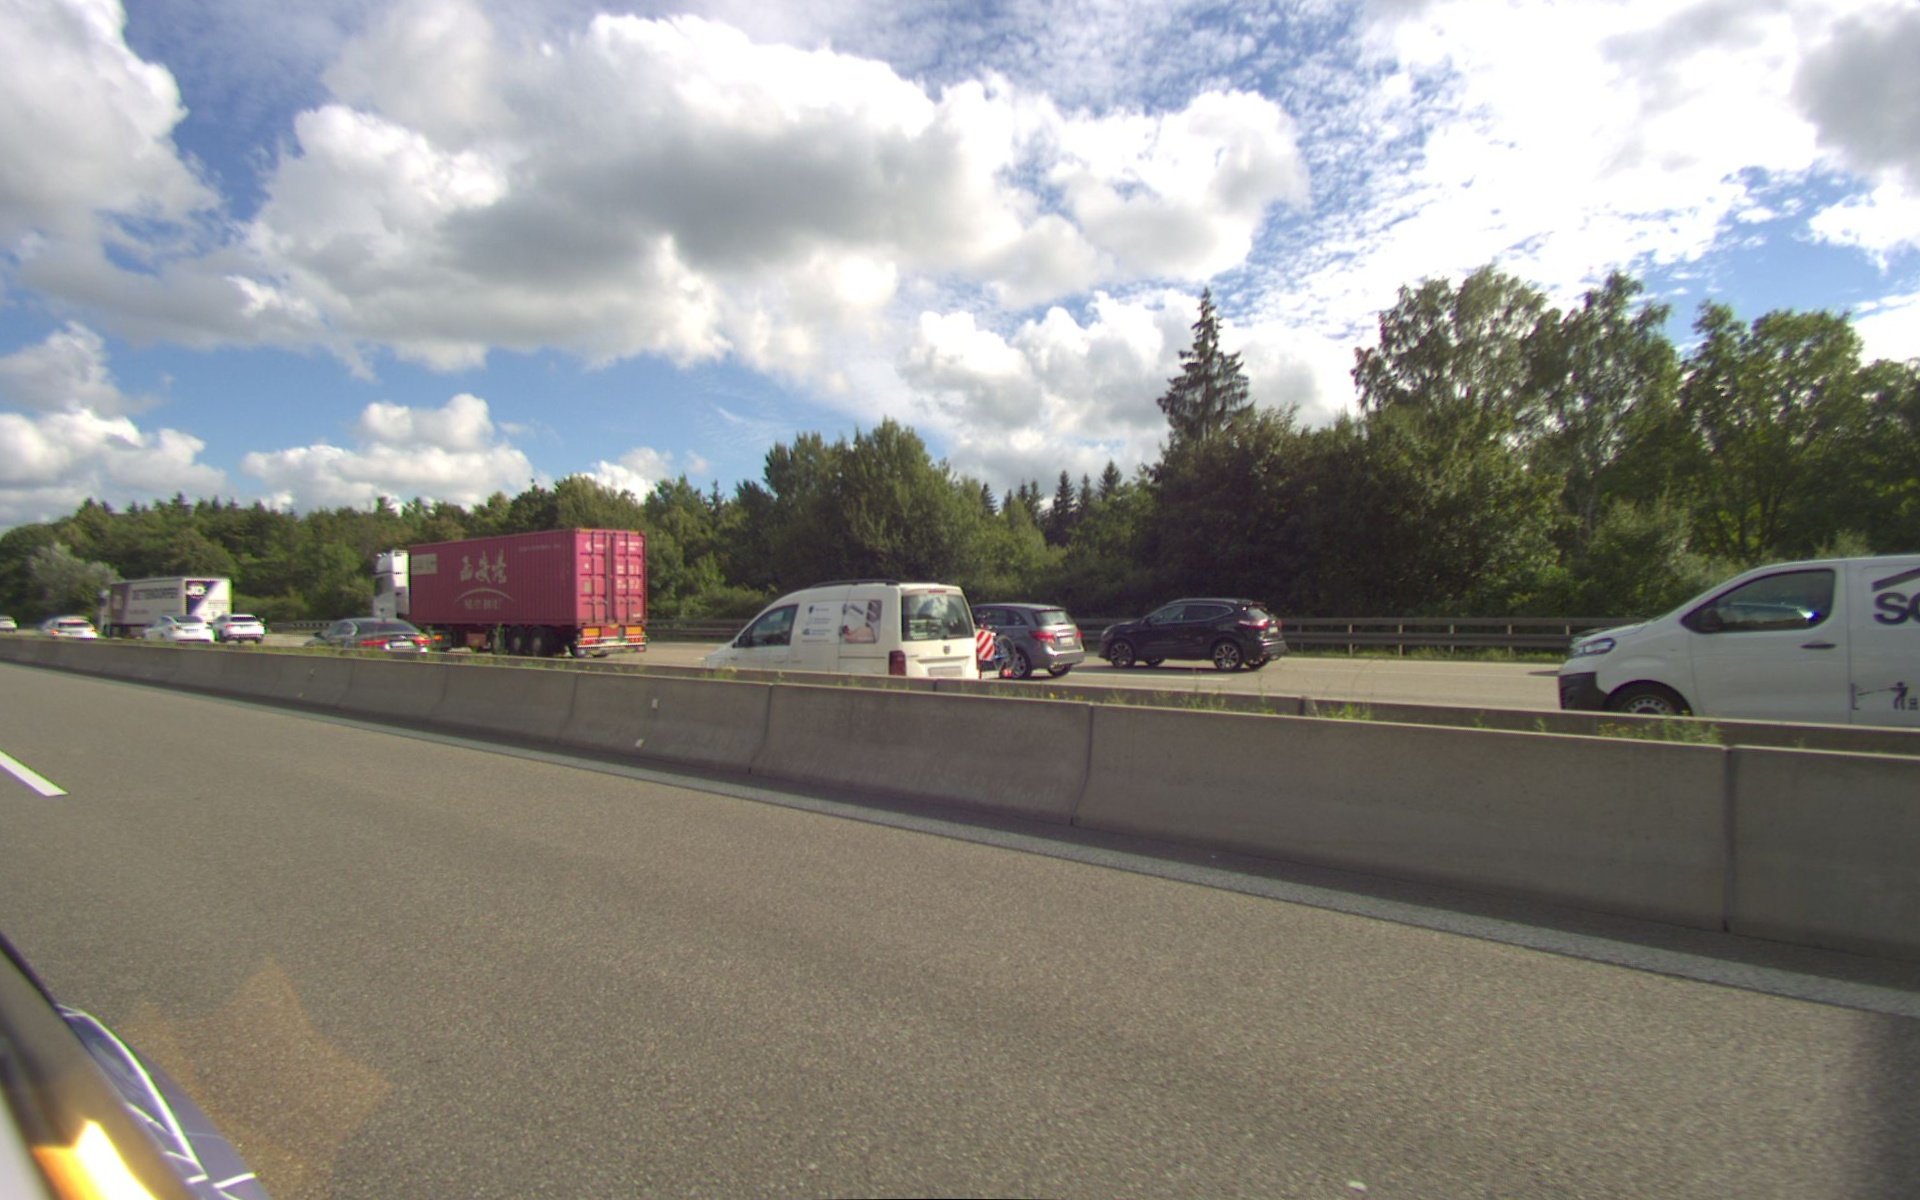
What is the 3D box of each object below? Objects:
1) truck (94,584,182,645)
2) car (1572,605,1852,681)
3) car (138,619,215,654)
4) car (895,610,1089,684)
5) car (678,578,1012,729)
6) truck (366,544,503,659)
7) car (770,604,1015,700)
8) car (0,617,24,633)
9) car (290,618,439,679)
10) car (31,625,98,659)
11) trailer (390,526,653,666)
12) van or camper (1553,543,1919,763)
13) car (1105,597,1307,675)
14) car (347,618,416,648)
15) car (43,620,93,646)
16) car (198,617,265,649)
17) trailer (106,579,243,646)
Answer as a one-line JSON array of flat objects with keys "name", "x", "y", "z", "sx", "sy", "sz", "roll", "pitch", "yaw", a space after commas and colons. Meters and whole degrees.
[{"name": "truck", "x": -58.257, "y": 1.012, "z": 71.685, "sx": 6.211, "sy": 4.138, "sz": 3.289, "roll": -1, "pitch": -1, "yaw": 35}, {"name": "car", "x": 14.356, "y": 0.786, "z": 19.492, "sx": 4.180, "sy": 1.298, "sz": 1.684, "roll": -1, "pitch": -1, "yaw": 41}, {"name": "car", "x": -37.183, "y": 1.718, "z": 47.984, "sx": 4.989, "sy": 1.537, "sz": 1.839, "roll": -1, "pitch": 0, "yaw": 39}, {"name": "car", "x": 0.623, "y": 0.965, "z": 21.730, "sx": 3.996, "sy": 1.426, "sz": 1.621, "roll": -1, "pitch": -1, "yaw": 40}, {"name": "car", "x": -1.644, "y": 0.630, "z": 13.290, "sx": 4.517, "sy": 1.661, "sz": 1.751, "roll": -1, "pitch": -1, "yaw": 41}, {"name": "truck", "x": -20.419, "y": 0.097, "z": 39.234, "sx": 5.759, "sy": 4.138, "sz": 2.711, "roll": -1, "pitch": -1, "yaw": 40}, {"name": "car", "x": -1.348, "y": 0.894, "z": 18.584, "sx": 4.683, "sy": 1.540, "sz": 1.680, "roll": -1, "pitch": -1, "yaw": 41}, {"name": "car", "x": -105.788, "y": 2.798, "z": 112.334, "sx": 4.781, "sy": 1.696, "sz": 2.150, "roll": -2, "pitch": -1, "yaw": 39}, {"name": "car", "x": -15.117, "y": 1.169, "z": 25.582, "sx": 4.544, "sy": 1.385, "sz": 1.775, "roll": -1, "pitch": -1, "yaw": 39}, {"name": "car", "x": -42.288, "y": 1.940, "z": 47.758, "sx": 4.848, "sy": 1.453, "sz": 1.752, "roll": -1, "pitch": -1, "yaw": 41}, {"name": "trailer", "x": -15.707, "y": -0.007, "z": 35.281, "sx": 13.405, "sy": 4.138, "sz": 2.711, "roll": -1, "pitch": -1, "yaw": 40}, {"name": "van or camper", "x": 8.620, "y": 0.452, "z": 9.352, "sx": 5.152, "sy": 1.864, "sz": 1.843, "roll": -1, "pitch": -1, "yaw": 41}, {"name": "car", "x": 5.586, "y": 0.789, "z": 23.264, "sx": 4.143, "sy": 1.625, "sz": 1.798, "roll": -1, "pitch": -1, "yaw": 40}, {"name": "car", "x": -29.251, "y": 1.653, "z": 51.088, "sx": 4.280, "sy": 1.437, "sz": 1.609, "roll": -1, "pitch": -1, "yaw": 39}, {"name": "car", "x": -56.768, "y": 2.093, "z": 64.367, "sx": 4.939, "sy": 1.606, "sz": 1.691, "roll": -1, "pitch": -1, "yaw": 40}, {"name": "car", "x": -40.017, "y": 1.791, "z": 55.541, "sx": 5.039, "sy": 1.630, "sz": 1.776, "roll": -1, "pitch": -1, "yaw": 39}, {"name": "trailer", "x": -52.916, "y": 0.906, "z": 67.951, "sx": 14.121, "sy": 4.138, "sz": 3.289, "roll": -1, "pitch": -1, "yaw": 35}]
